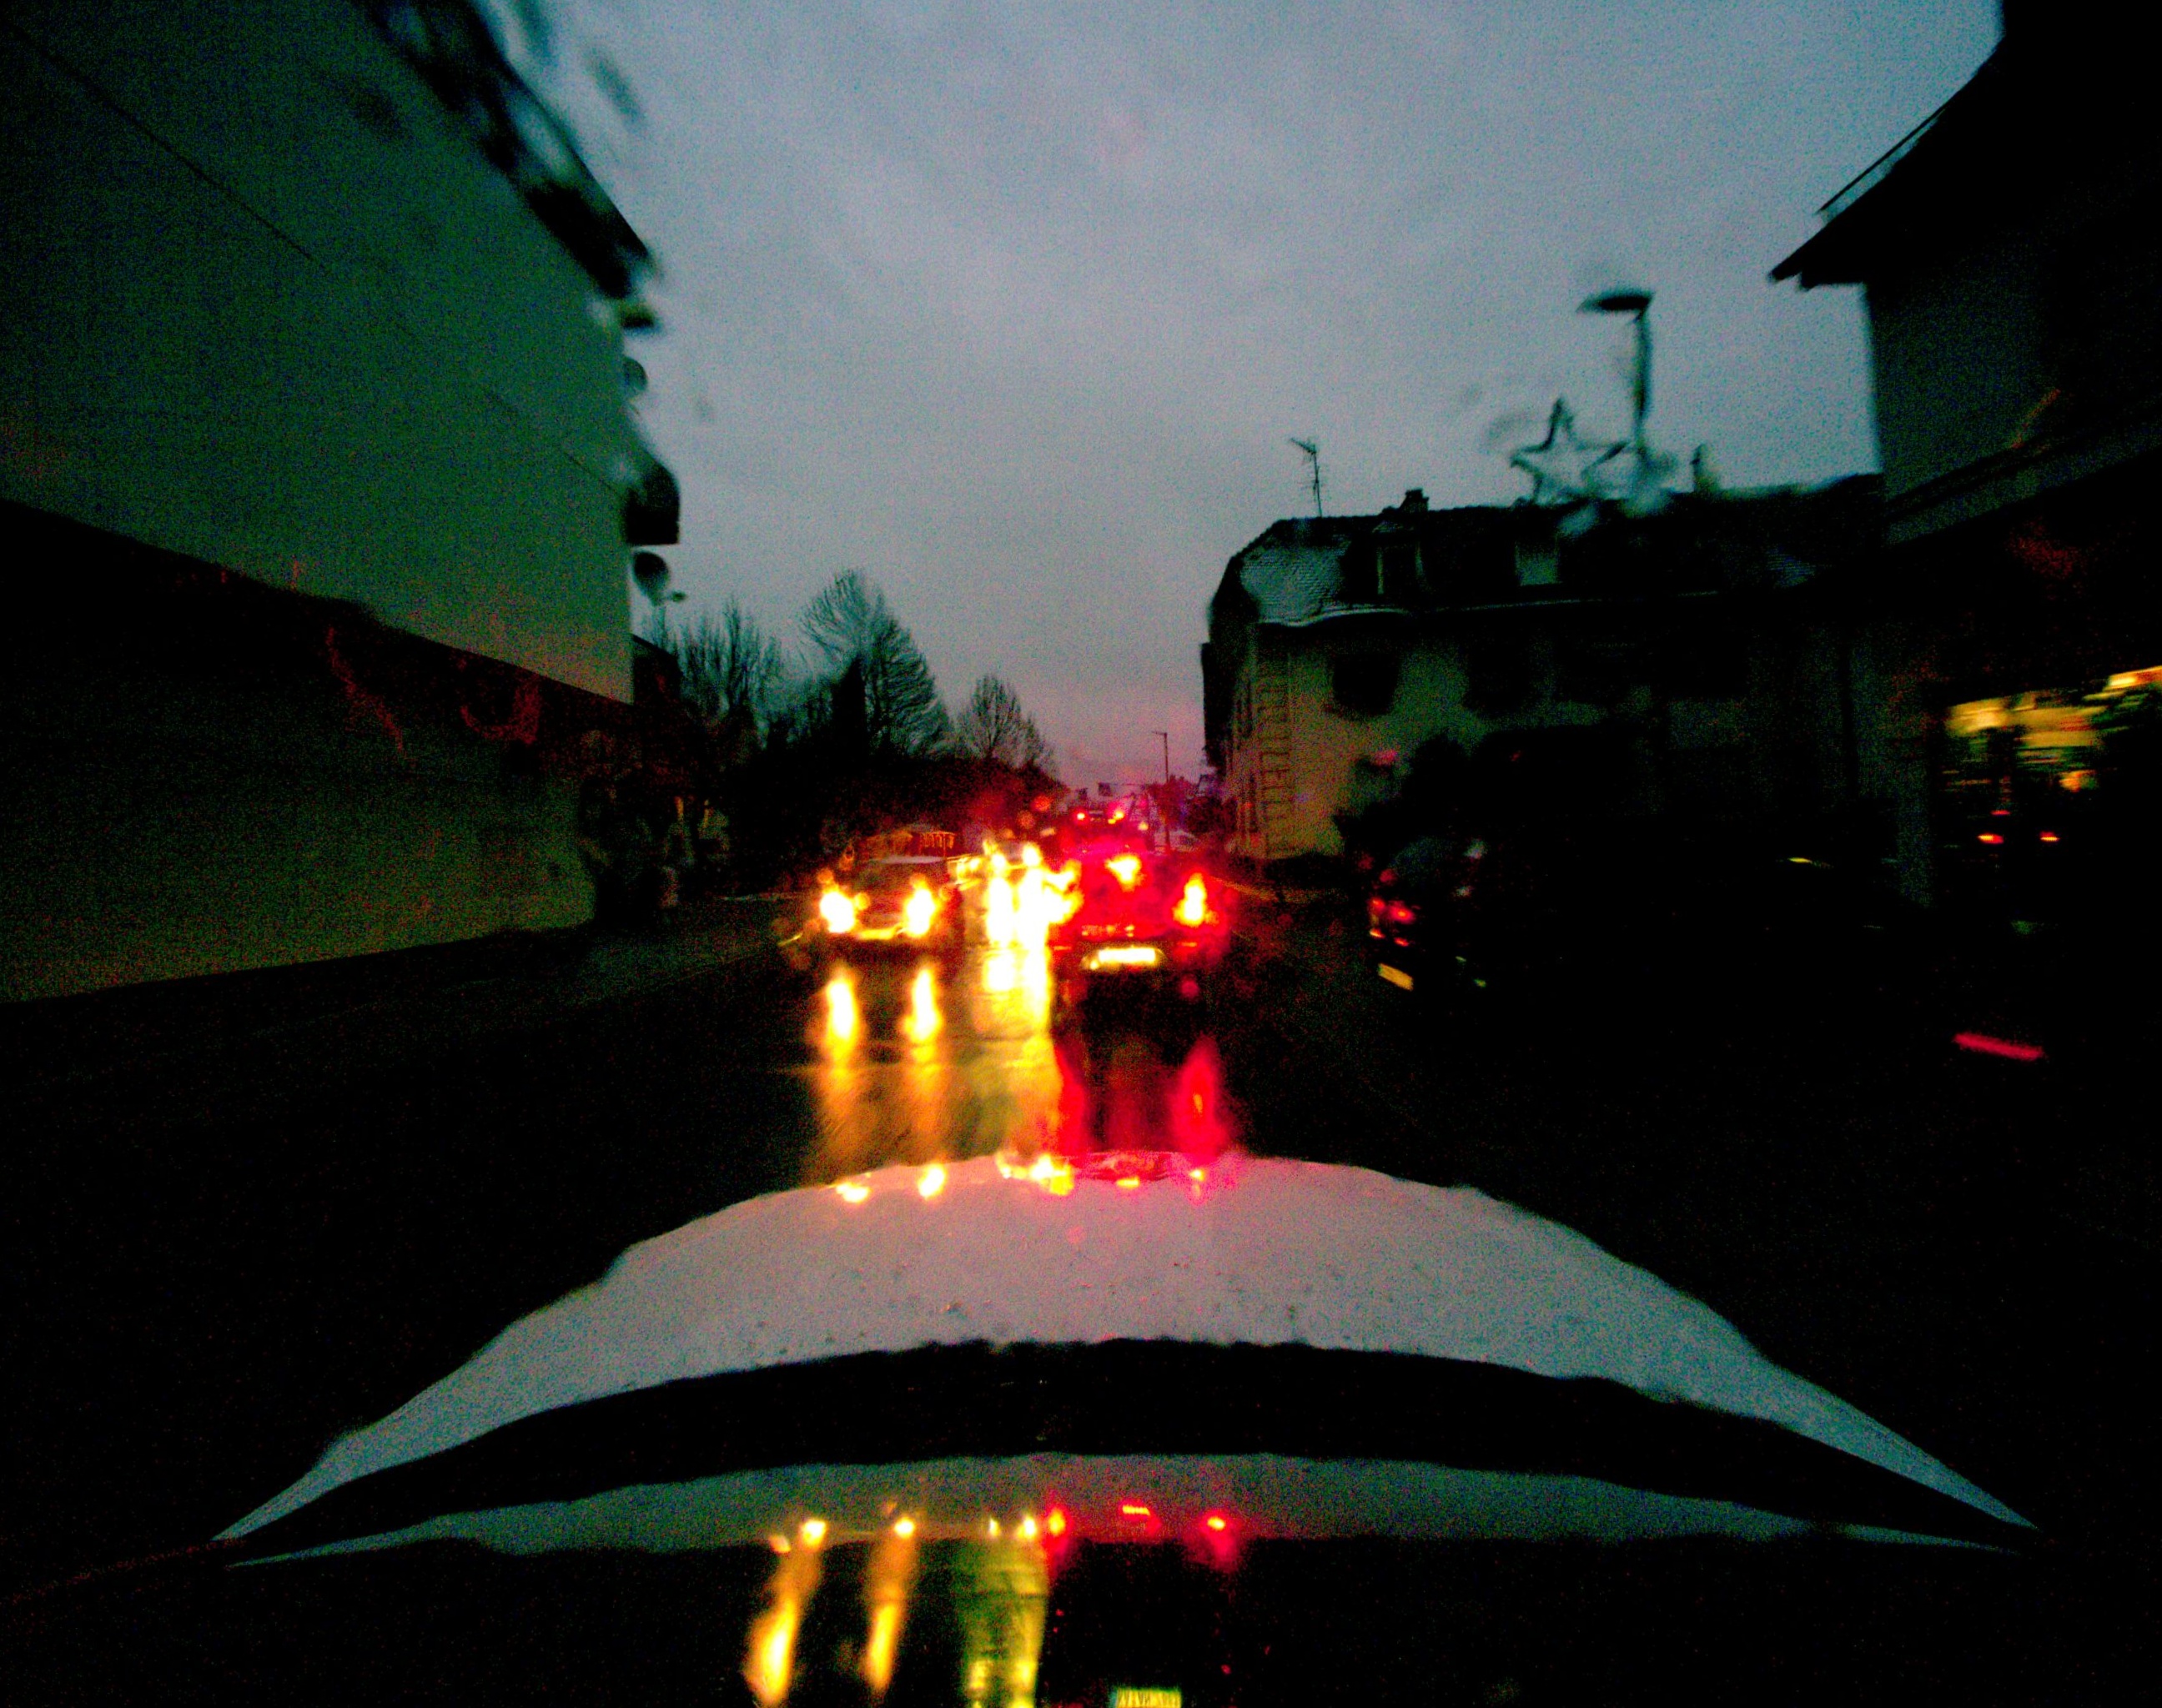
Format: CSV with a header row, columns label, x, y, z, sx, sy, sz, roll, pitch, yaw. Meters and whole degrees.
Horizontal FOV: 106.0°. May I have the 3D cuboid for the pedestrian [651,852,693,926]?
label,x,y,z,sx,sy,sz,roll,pitch,yaw
pedestrian,-8.332,0.689,16.590,0.653,1.458,0.643,-2,1,-35

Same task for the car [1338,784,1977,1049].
label,x,y,z,sx,sy,sz,roll,pitch,yaw
car,4.231,0.397,6.361,3.862,1.579,1.680,-3,0,-4

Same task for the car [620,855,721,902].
label,x,y,z,sx,sy,sz,roll,pitch,yaw
car,-18.628,1.102,36.980,3.953,1.988,1.829,-1,1,21

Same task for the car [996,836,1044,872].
label,x,y,z,sx,sy,sz,roll,pitch,yaw
car,-2.863,-0.040,38.837,1.804,1.596,4.401,-2,1,1

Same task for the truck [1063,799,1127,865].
label,x,y,z,sx,sy,sz,roll,pitch,yaw
truck,0.650,-1.139,43.556,3.006,3.128,7.998,-1,1,-1

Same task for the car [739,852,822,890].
label,x,y,z,sx,sy,sz,roll,pitch,yaw
car,-16.596,0.934,44.996,3.953,1.910,1.829,-1,1,21

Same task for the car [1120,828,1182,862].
label,x,y,z,sx,sy,sz,roll,pitch,yaw
car,4.845,-0.632,56.154,4.073,2.151,1.918,-2,1,8

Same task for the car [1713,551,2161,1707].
label,x,y,z,sx,sy,sz,roll,pitch,yaw
car,3.789,0.367,0.996,4.593,1.775,1.943,-3,1,-3

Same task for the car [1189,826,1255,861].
label,x,y,z,sx,sy,sz,roll,pitch,yaw
car,9.134,-0.678,52.978,4.073,2.151,1.918,-2,1,8

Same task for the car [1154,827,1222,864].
label,x,y,z,sx,sy,sz,roll,pitch,yaw
car,6.659,-0.542,50.744,4.073,2.162,1.918,-2,1,8

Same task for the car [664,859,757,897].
label,x,y,z,sx,sy,sz,roll,pitch,yaw
car,-18.077,1.164,39.766,3.953,1.730,1.829,-1,1,21

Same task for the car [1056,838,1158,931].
label,x,y,z,sx,sy,sz,roll,pitch,yaw
car,0.421,0.471,14.937,1.633,1.481,3.271,-1,1,0

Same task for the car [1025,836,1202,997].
label,x,y,z,sx,sy,sz,roll,pitch,yaw
car,0.361,0.570,9.319,1.632,1.481,3.380,-1,0,2

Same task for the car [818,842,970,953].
label,x,y,z,sx,sy,sz,roll,pitch,yaw
car,-2.872,0.592,13.221,1.633,1.535,3.406,-2,1,0

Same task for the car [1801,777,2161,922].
label,x,y,z,sx,sy,sz,roll,pitch,yaw
car,12.236,-0.094,10.555,3.972,1.570,2.001,-3,0,1
